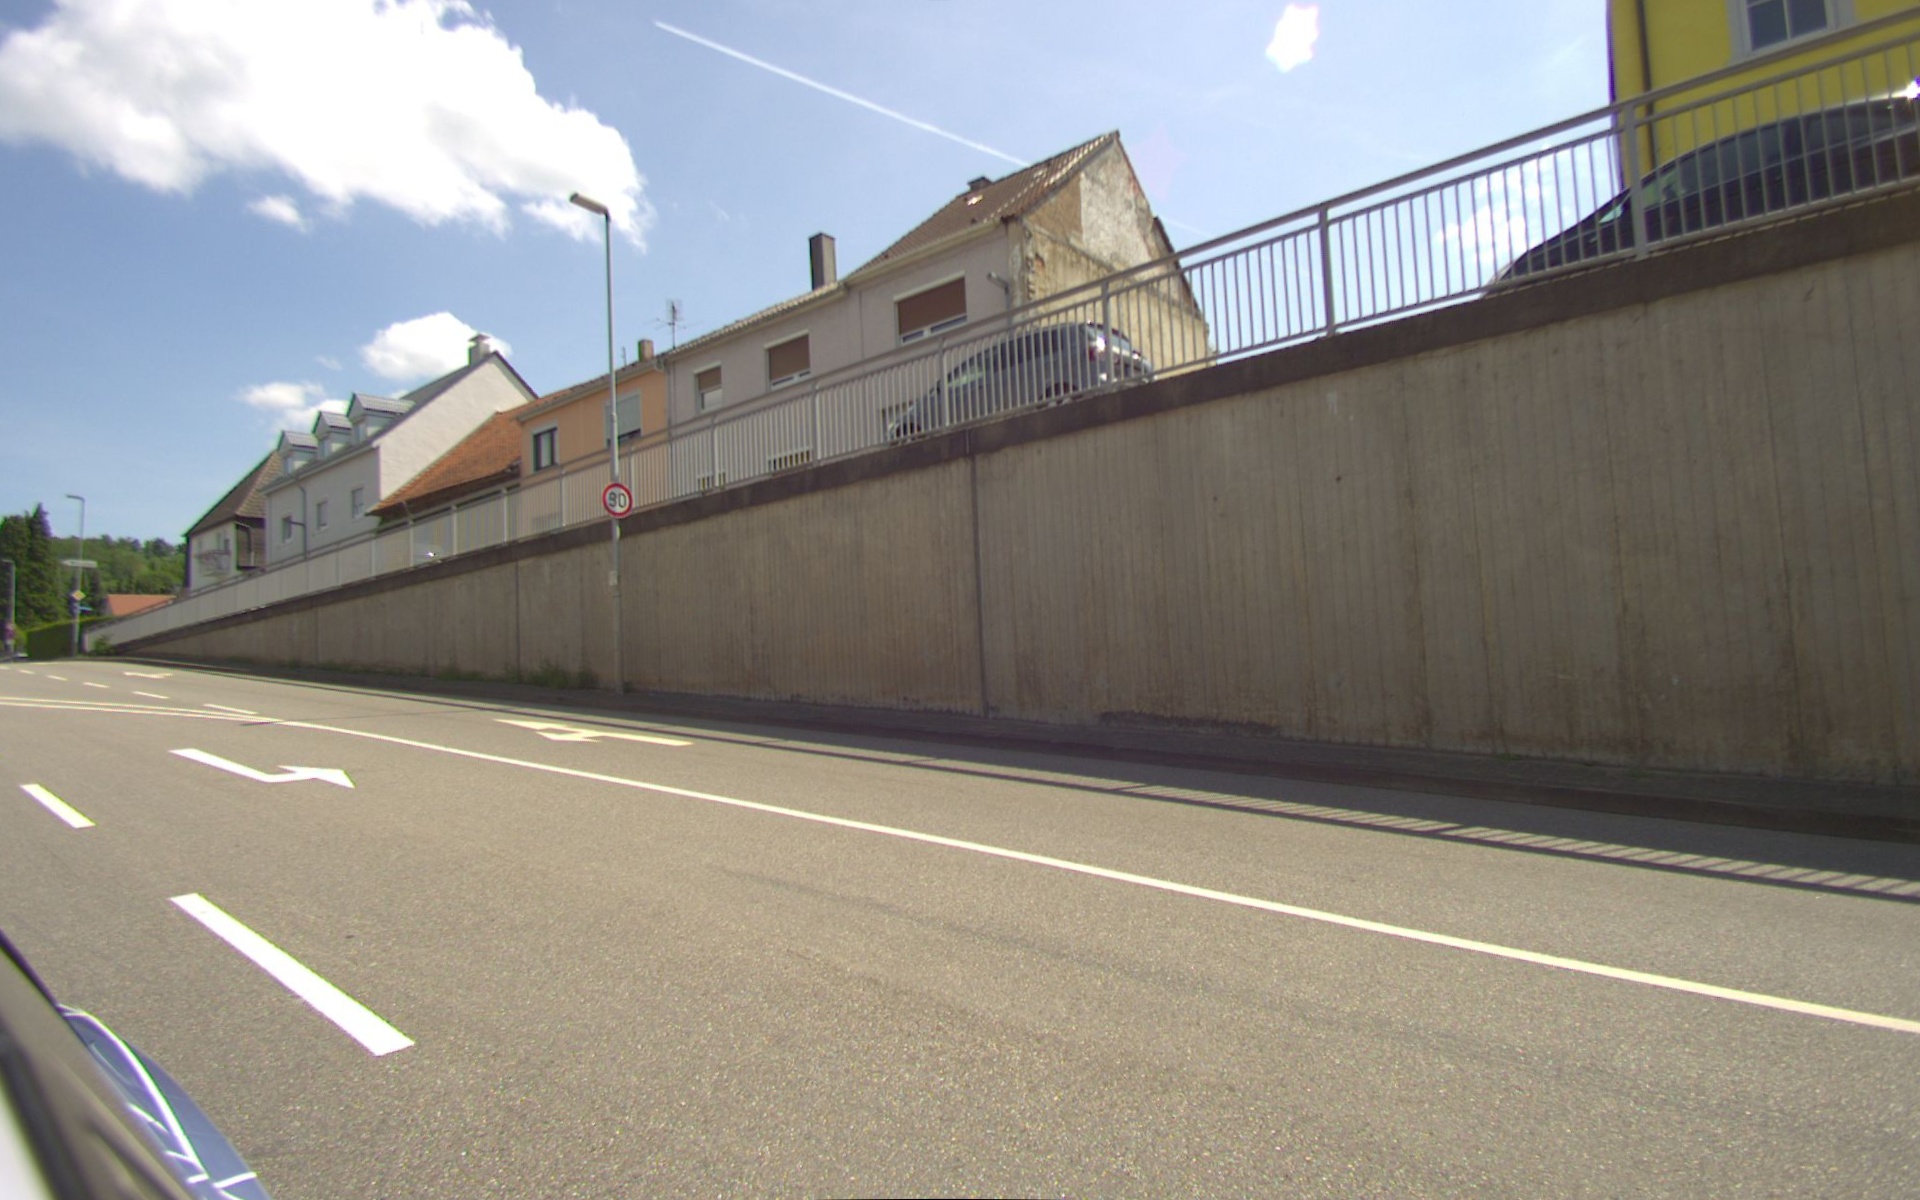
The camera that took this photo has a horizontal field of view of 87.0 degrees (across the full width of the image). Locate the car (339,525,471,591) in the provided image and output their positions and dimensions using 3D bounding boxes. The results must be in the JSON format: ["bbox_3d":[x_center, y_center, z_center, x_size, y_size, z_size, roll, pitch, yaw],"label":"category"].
[{"bbox_3d":[-15.769,-1.122,28.664,4.388,1.416,1.768,-5,-4,39],"label":"car"}]

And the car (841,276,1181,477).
[{"bbox_3d":[0.576,-2.840,13.789,4.388,1.536,1.781,-5,-4,39],"label":"car"}]

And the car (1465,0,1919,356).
[{"bbox_3d":[6.844,-3.555,8.585,4.218,1.718,1.804,-5,-4,39],"label":"car"}]
